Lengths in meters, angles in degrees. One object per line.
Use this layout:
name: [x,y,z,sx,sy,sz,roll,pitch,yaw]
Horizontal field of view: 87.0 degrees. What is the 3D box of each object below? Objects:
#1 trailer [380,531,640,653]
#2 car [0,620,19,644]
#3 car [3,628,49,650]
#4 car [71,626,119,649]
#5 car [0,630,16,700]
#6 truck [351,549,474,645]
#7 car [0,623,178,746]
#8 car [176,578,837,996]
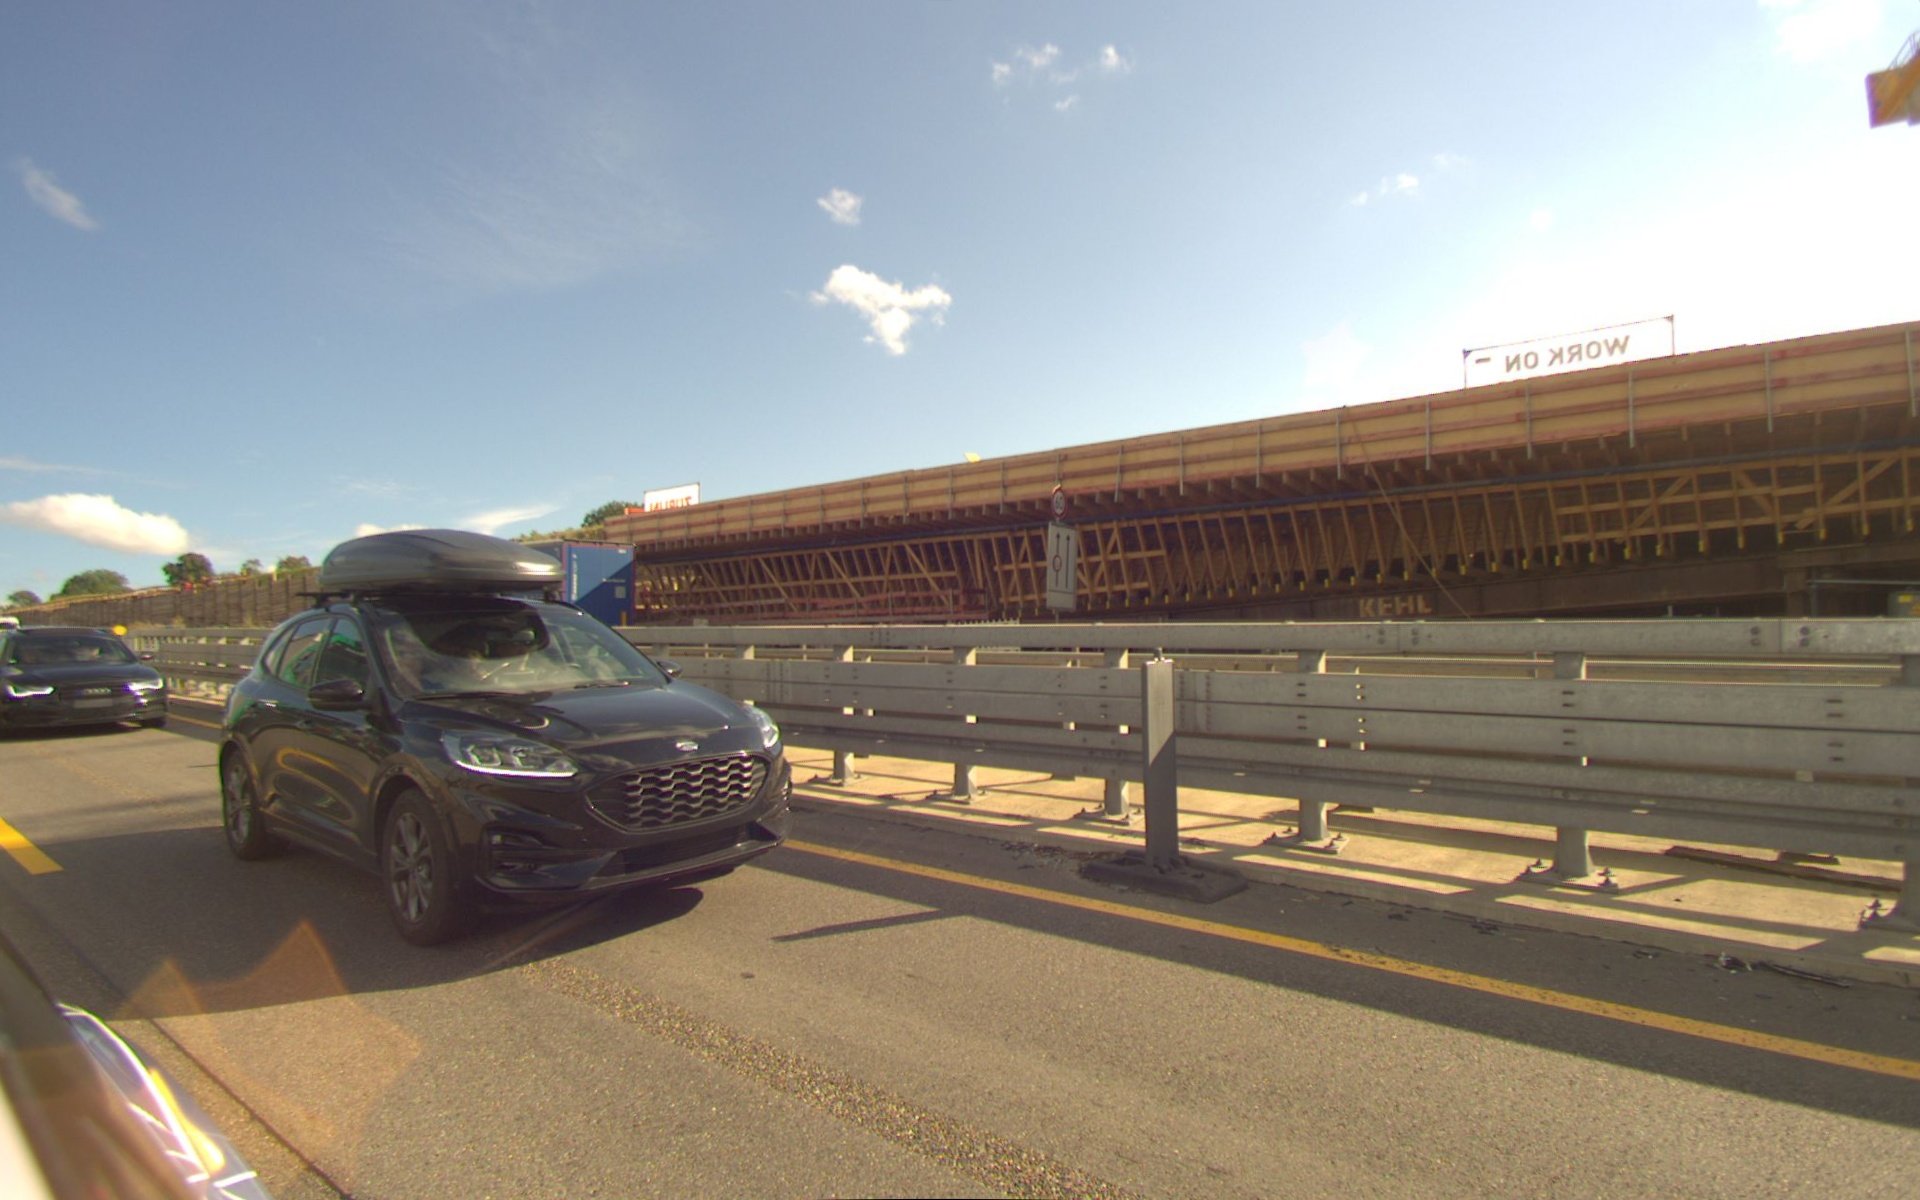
trailer: [-16.515,-0.202,36.195,13.517,3.694,2.834,-1,0,40]
car: [-102.132,3.398,107.403,6.400,2.360,2.540,-1,0,40]
car: [-70.698,2.934,76.580,4.404,1.441,1.925,0,2,39]
car: [-63.956,2.740,74.832,4.404,1.441,1.925,0,2,39]
car: [-22.115,1.393,21.957,4.405,1.441,1.924,-1,-1,41]
truck: [-22.117,-0.103,40.841,4.806,3.656,2.813,-1,0,40]
car: [-13.166,1.108,14.755,4.502,1.441,1.924,0,0,41]
car: [-2.868,0.748,5.875,4.381,1.554,1.781,-2,-2,40]
